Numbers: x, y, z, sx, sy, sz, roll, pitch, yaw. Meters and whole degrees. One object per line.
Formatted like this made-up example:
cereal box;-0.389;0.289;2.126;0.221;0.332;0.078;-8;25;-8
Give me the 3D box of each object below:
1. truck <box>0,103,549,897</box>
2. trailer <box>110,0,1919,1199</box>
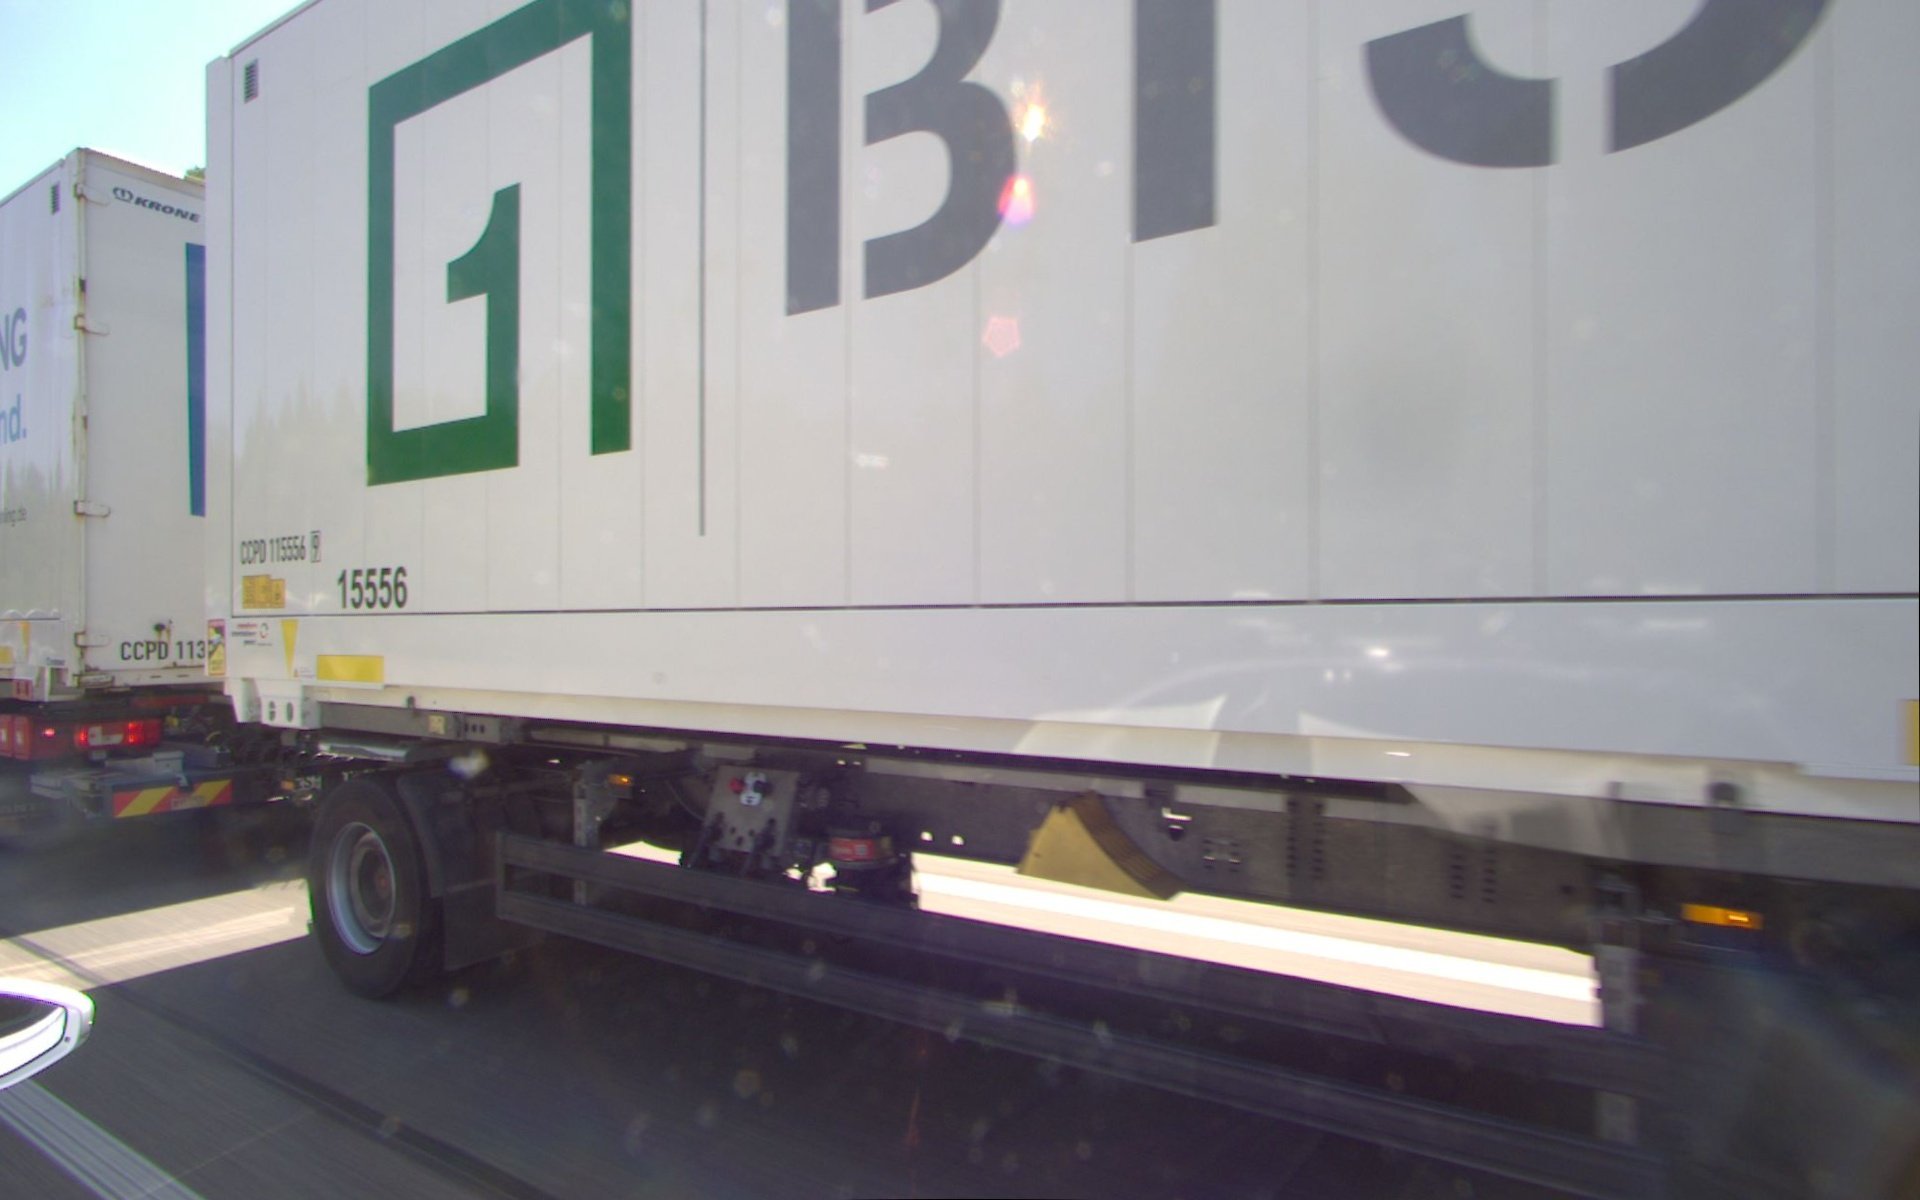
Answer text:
truck;-8.235;-0.458;9.093;10.471;4.112;2.676;0;-1;32
trailer;0.650;-0.536;3.552;9.919;4.229;2.676;0;-1;32
